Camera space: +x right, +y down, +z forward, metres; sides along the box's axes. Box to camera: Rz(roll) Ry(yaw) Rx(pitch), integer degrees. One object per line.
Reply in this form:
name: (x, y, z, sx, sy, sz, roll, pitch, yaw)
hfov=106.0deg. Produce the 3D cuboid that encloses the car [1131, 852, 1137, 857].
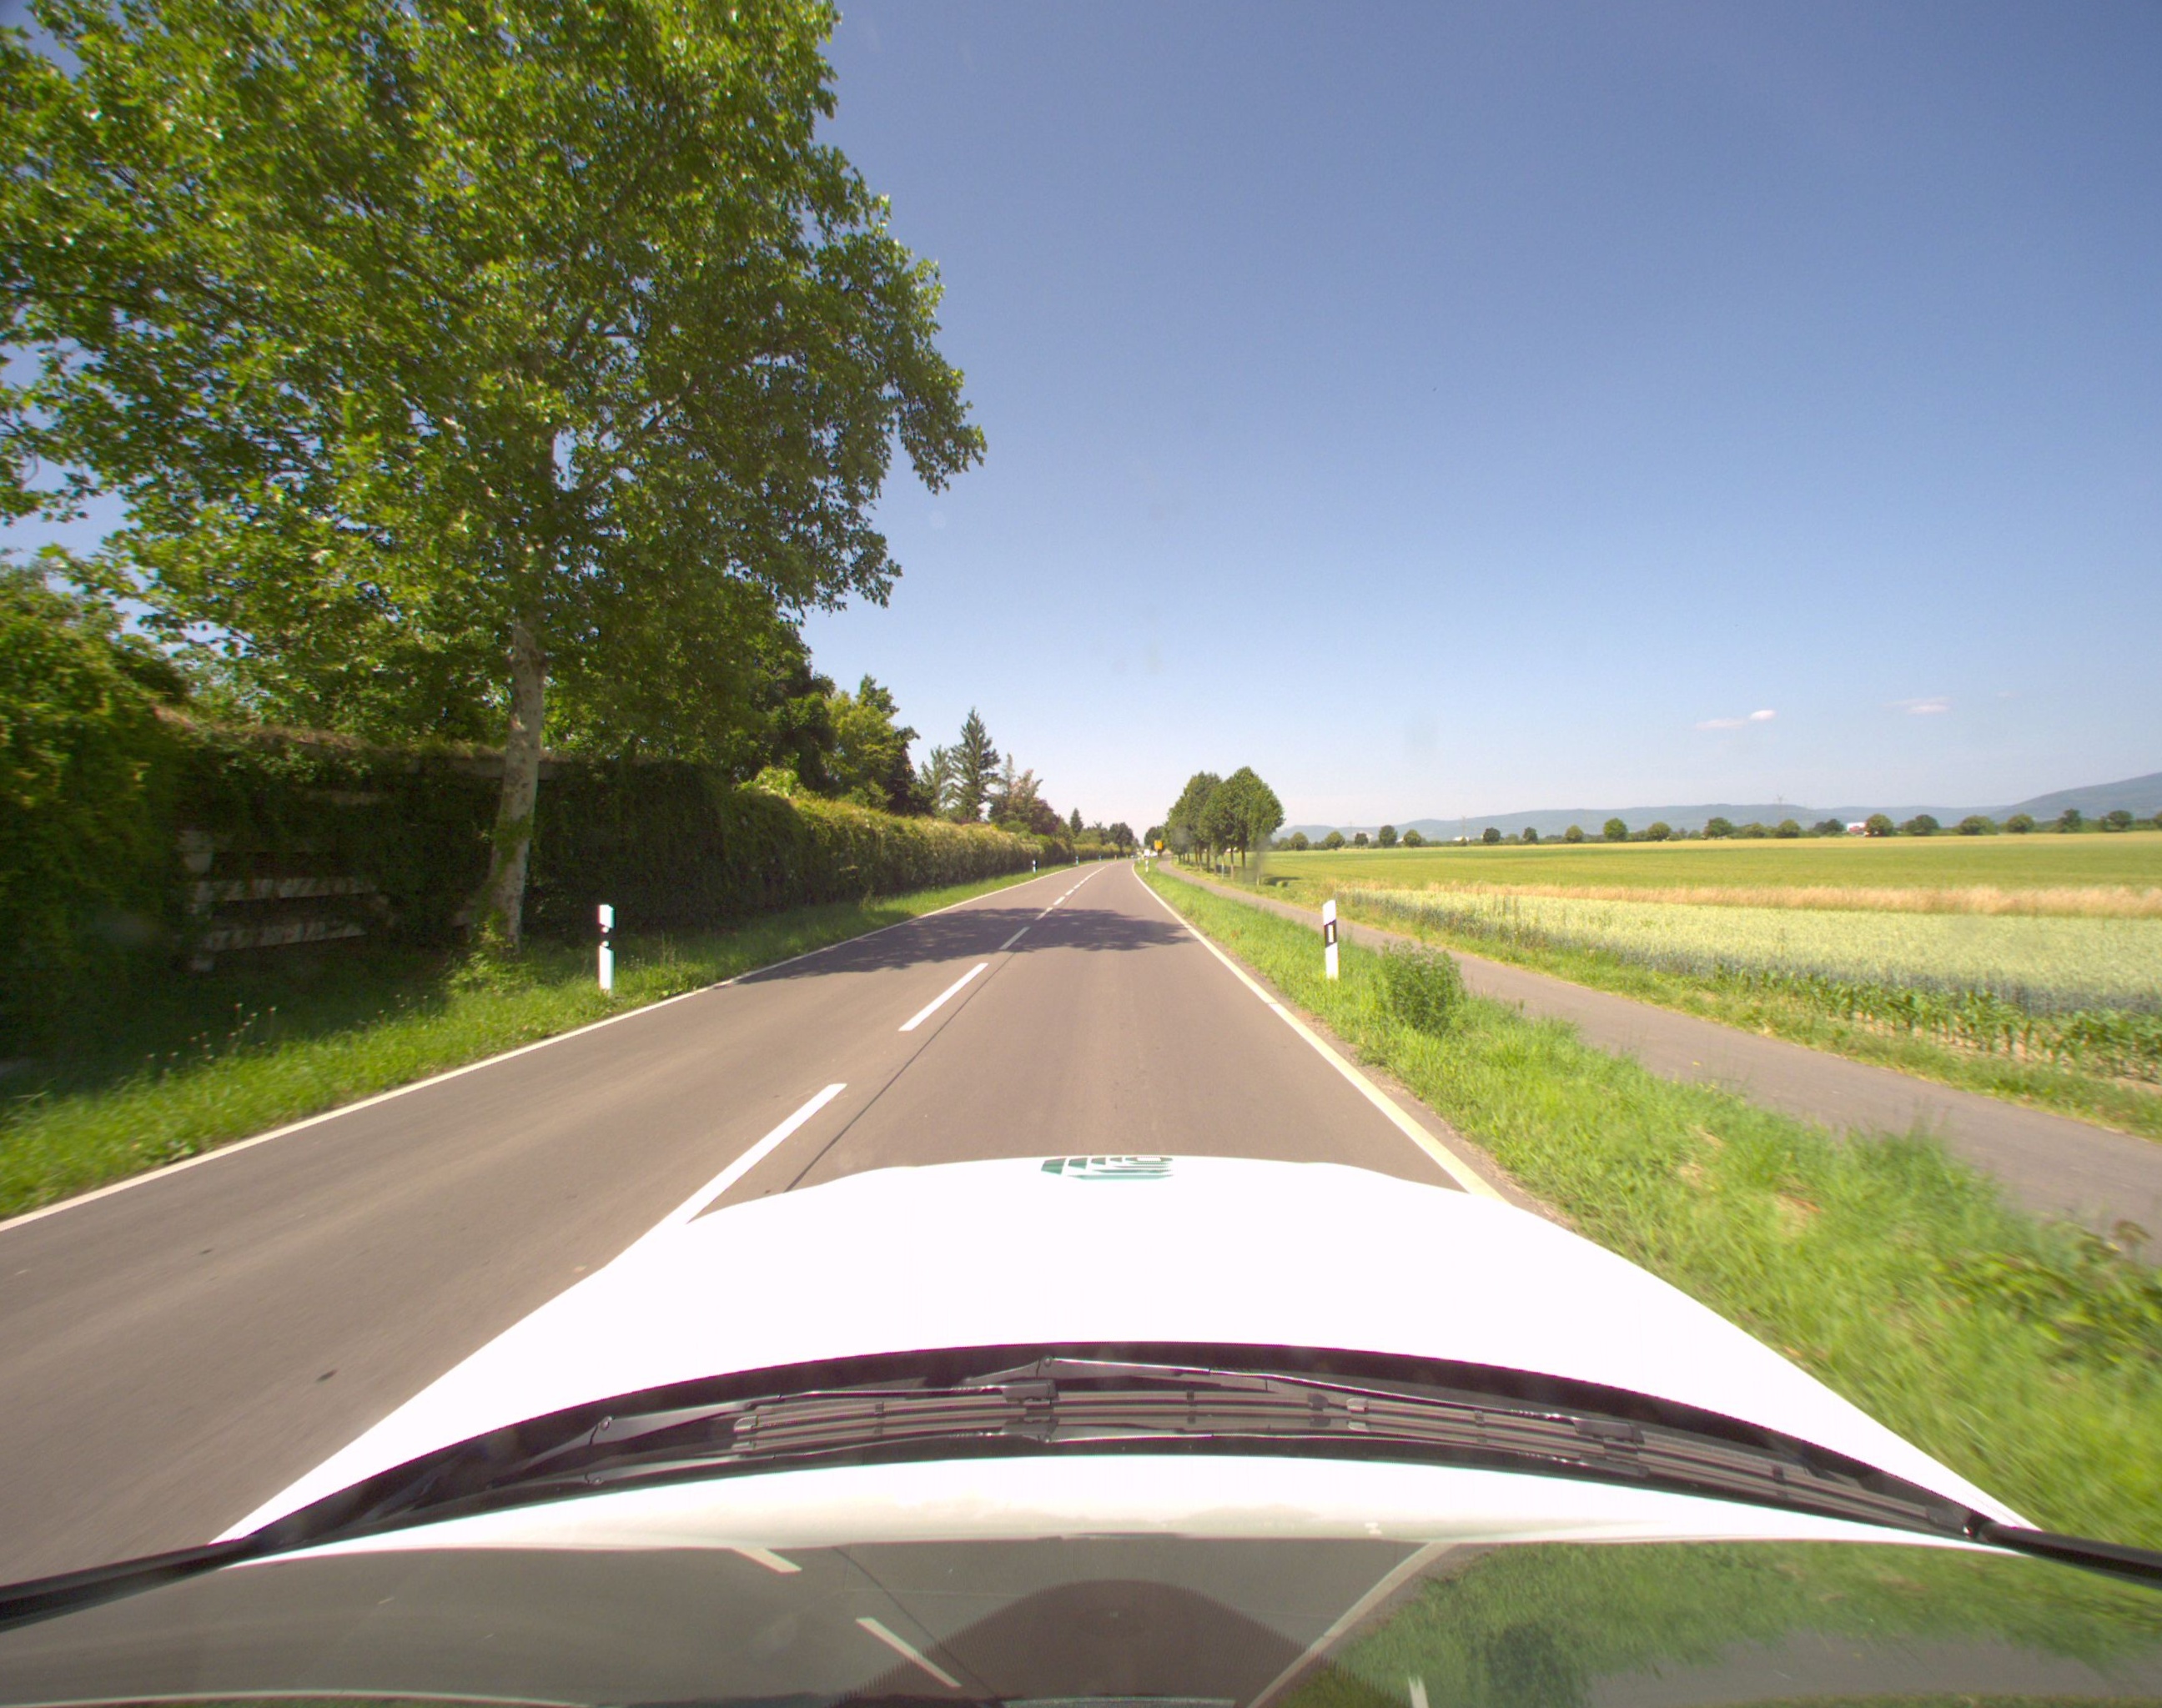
car: (16.506, 0.285, 255.485, 1.832, 1.467, 3.937, -1, 0, 4)
